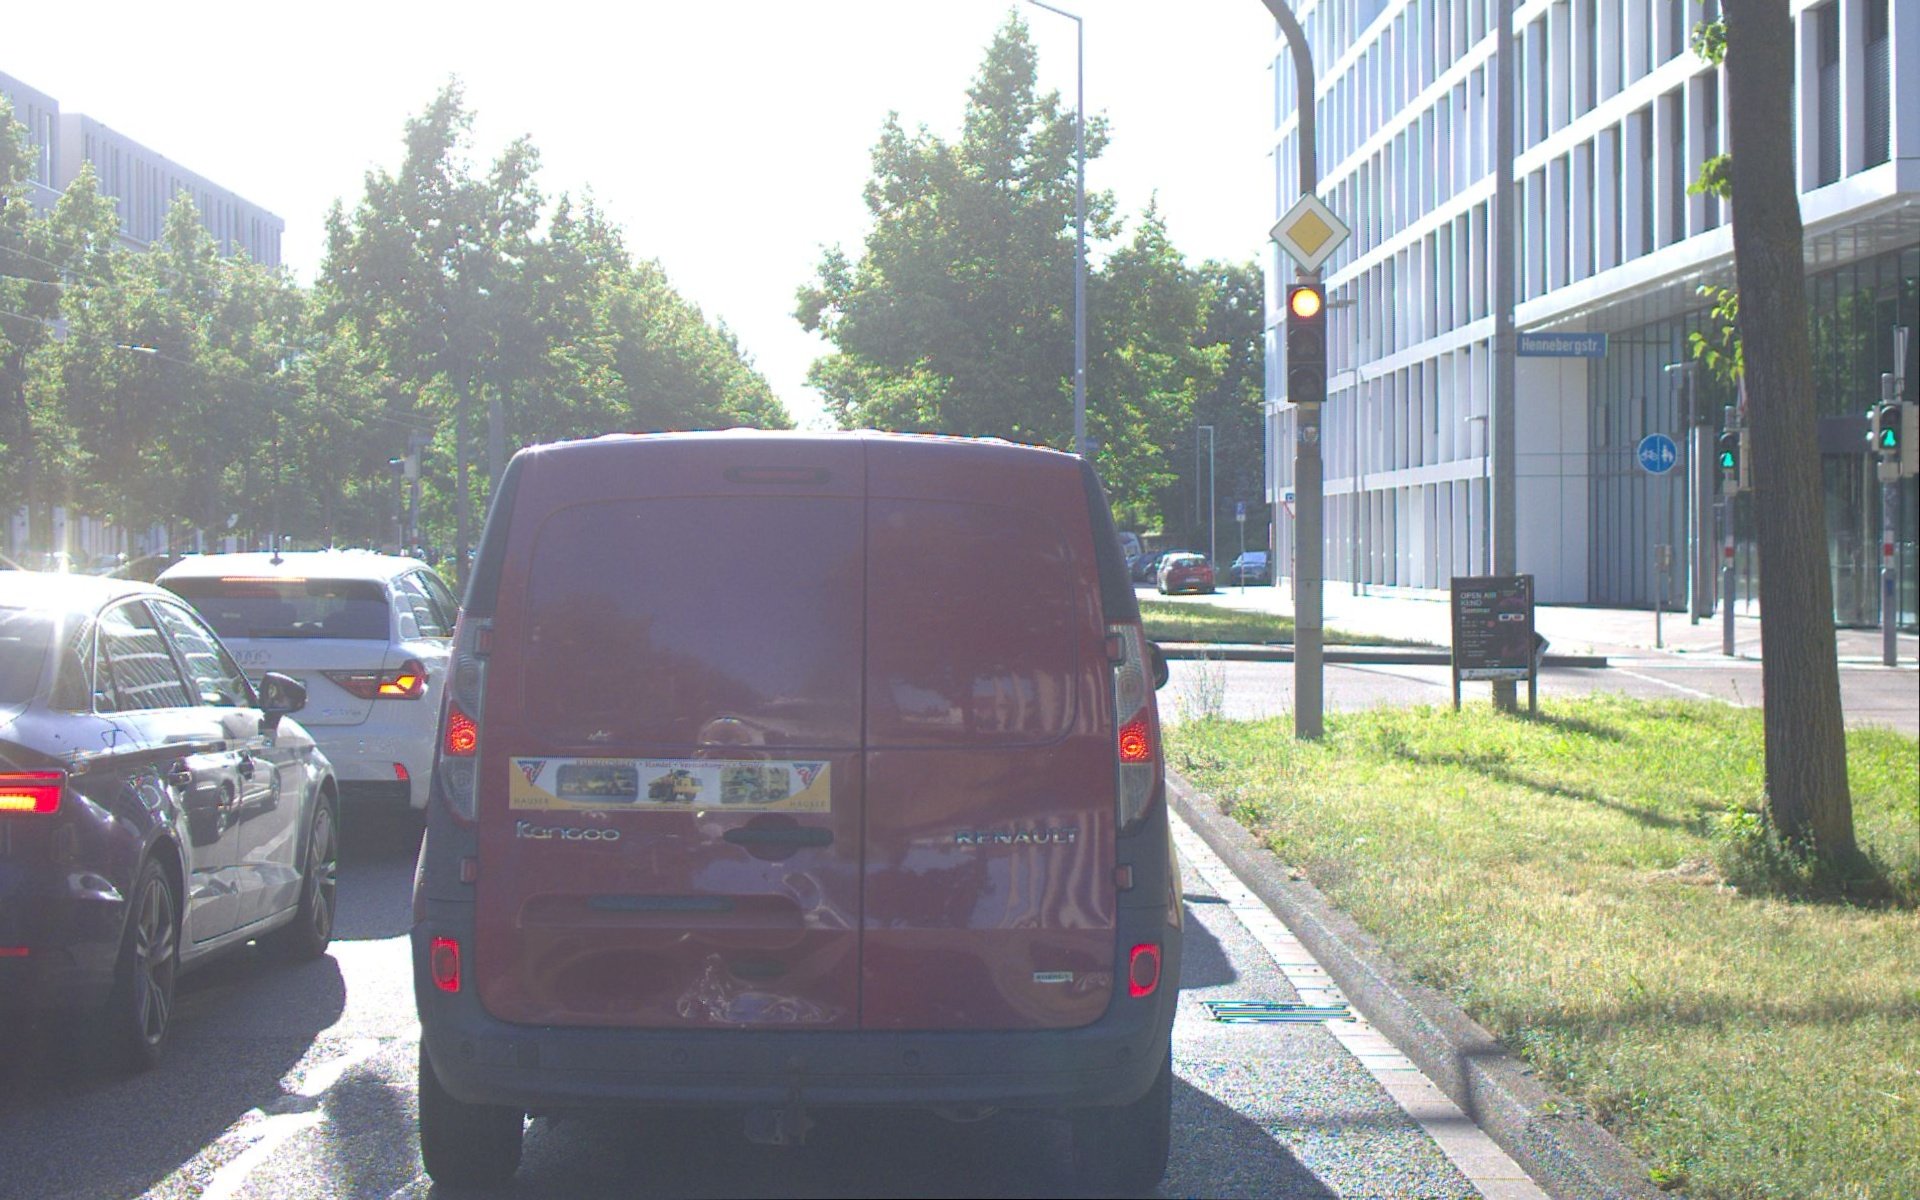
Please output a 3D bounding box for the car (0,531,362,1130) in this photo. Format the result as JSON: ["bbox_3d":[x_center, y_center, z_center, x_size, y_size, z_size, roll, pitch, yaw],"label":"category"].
[{"bbox_3d":[-3.145,0.547,10.797,1.808,1.522,4.113,0,1,0],"label":"car"}]

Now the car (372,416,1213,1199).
[{"bbox_3d":[-0.355,0.458,9.456,1.808,1.788,4.113,0,1,0],"label":"car"}]

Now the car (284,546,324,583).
[{"bbox_3d":[-37.550,-2.042,196.737,1.728,2.007,4.001,0,1,-3],"label":"car"}]

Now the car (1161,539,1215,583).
[{"bbox_3d":[8.462,-1.455,127.865,1.758,1.606,3.903,0,1,1],"label":"car"}]

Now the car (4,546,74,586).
[{"bbox_3d":[-35.744,-1.329,133.540,1.776,1.523,3.806,0,1,-1],"label":"car"}]

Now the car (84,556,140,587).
[{"bbox_3d":[-36.761,-1.256,149.144,1.580,1.337,3.712,0,1,-1],"label":"car"}]

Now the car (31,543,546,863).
[{"bbox_3d":[-3.265,0.427,17.507,1.808,1.430,4.113,0,1,0],"label":"car"}]
